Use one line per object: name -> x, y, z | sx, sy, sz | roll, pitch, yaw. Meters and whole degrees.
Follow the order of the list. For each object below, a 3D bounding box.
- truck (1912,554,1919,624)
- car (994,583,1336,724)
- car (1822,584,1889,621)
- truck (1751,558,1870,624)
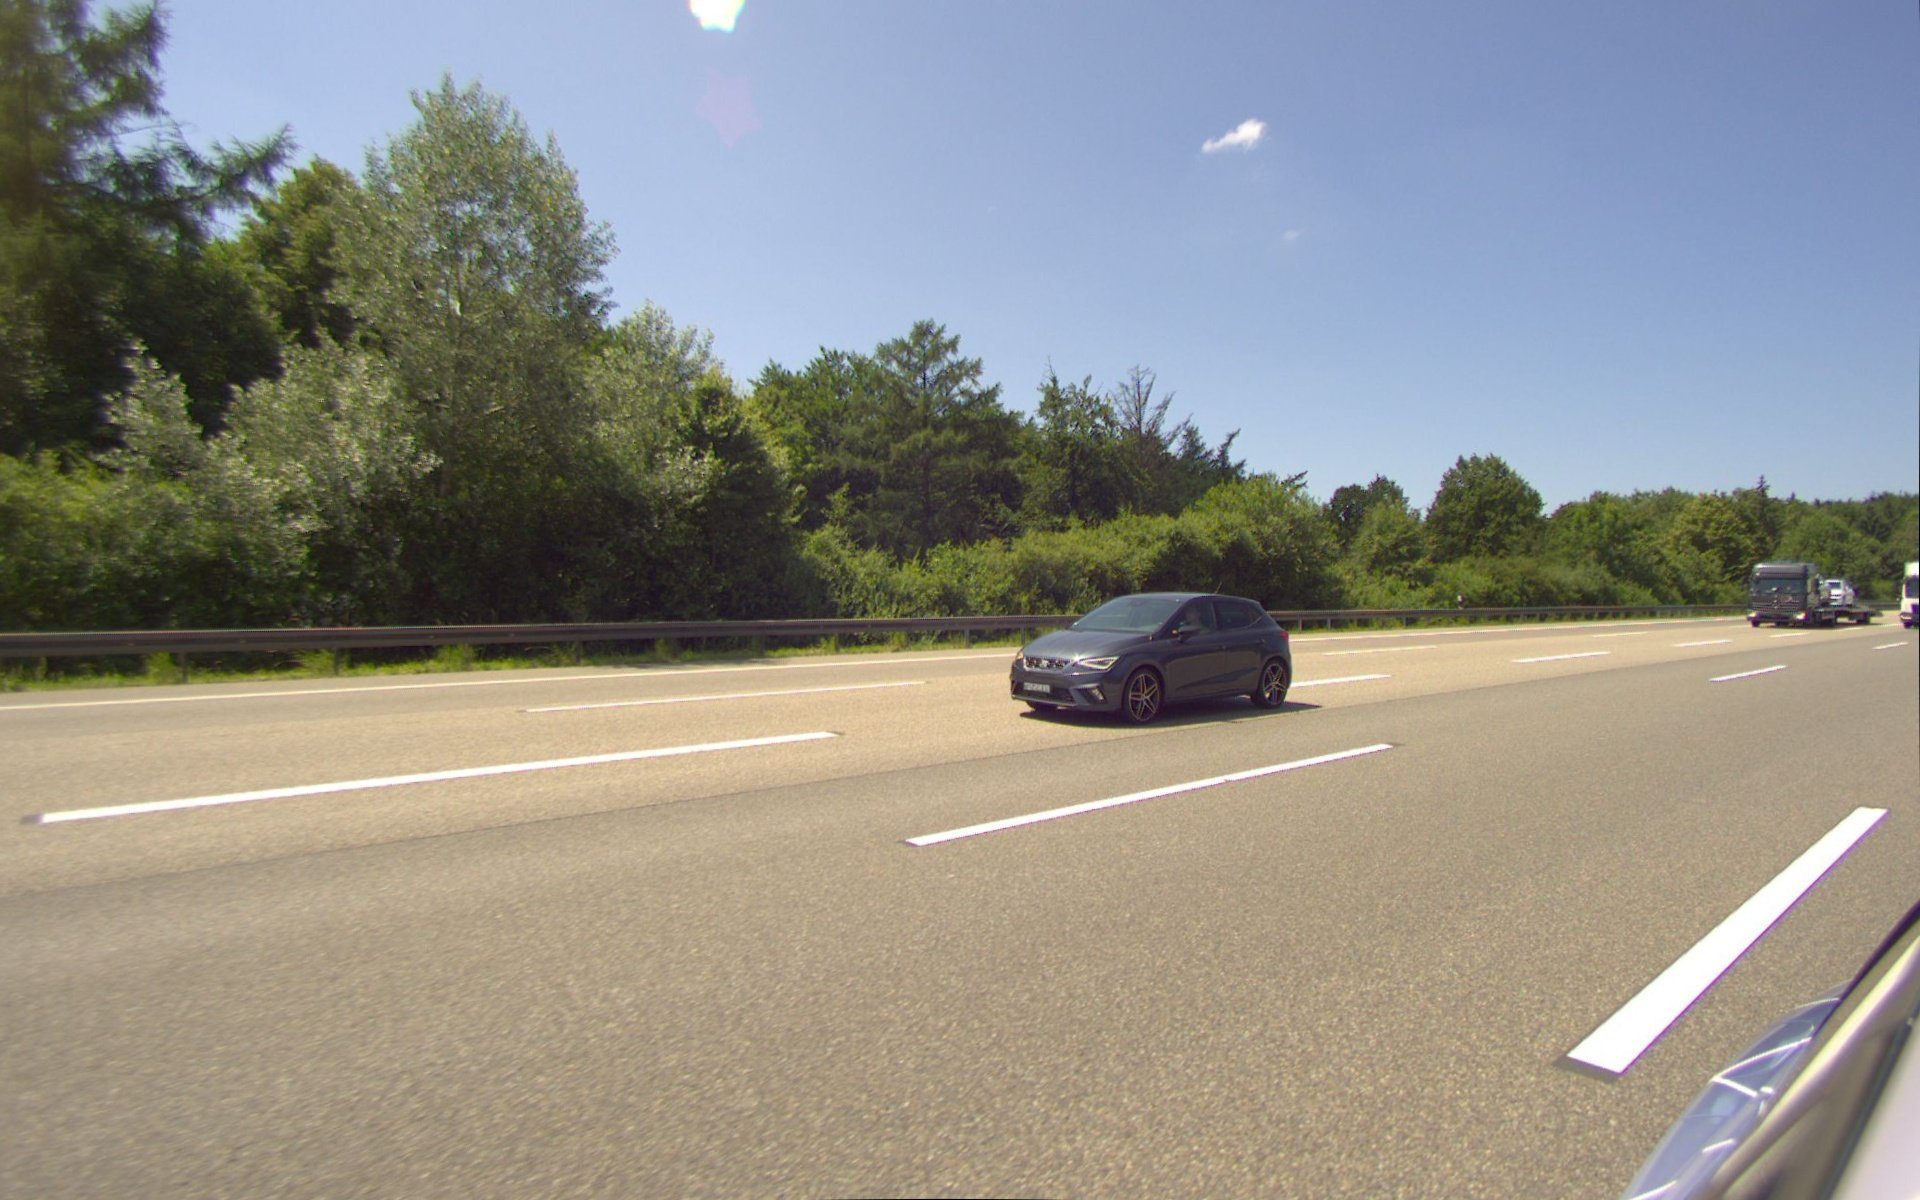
truck -> 49.075, -0.570, 49.793 | 8.538, 3.297, 2.426 | -1, 0, -41
car -> 2.671, 0.539, 12.528 | 4.551, 1.456, 1.647 | 0, 0, -39
car -> 48.291, 0.084, 54.552 | 4.783, 1.920, 1.998 | -1, 0, -40
truck -> 41.451, -0.447, 49.132 | 10.693, 2.892, 2.659 | -1, 0, -40
